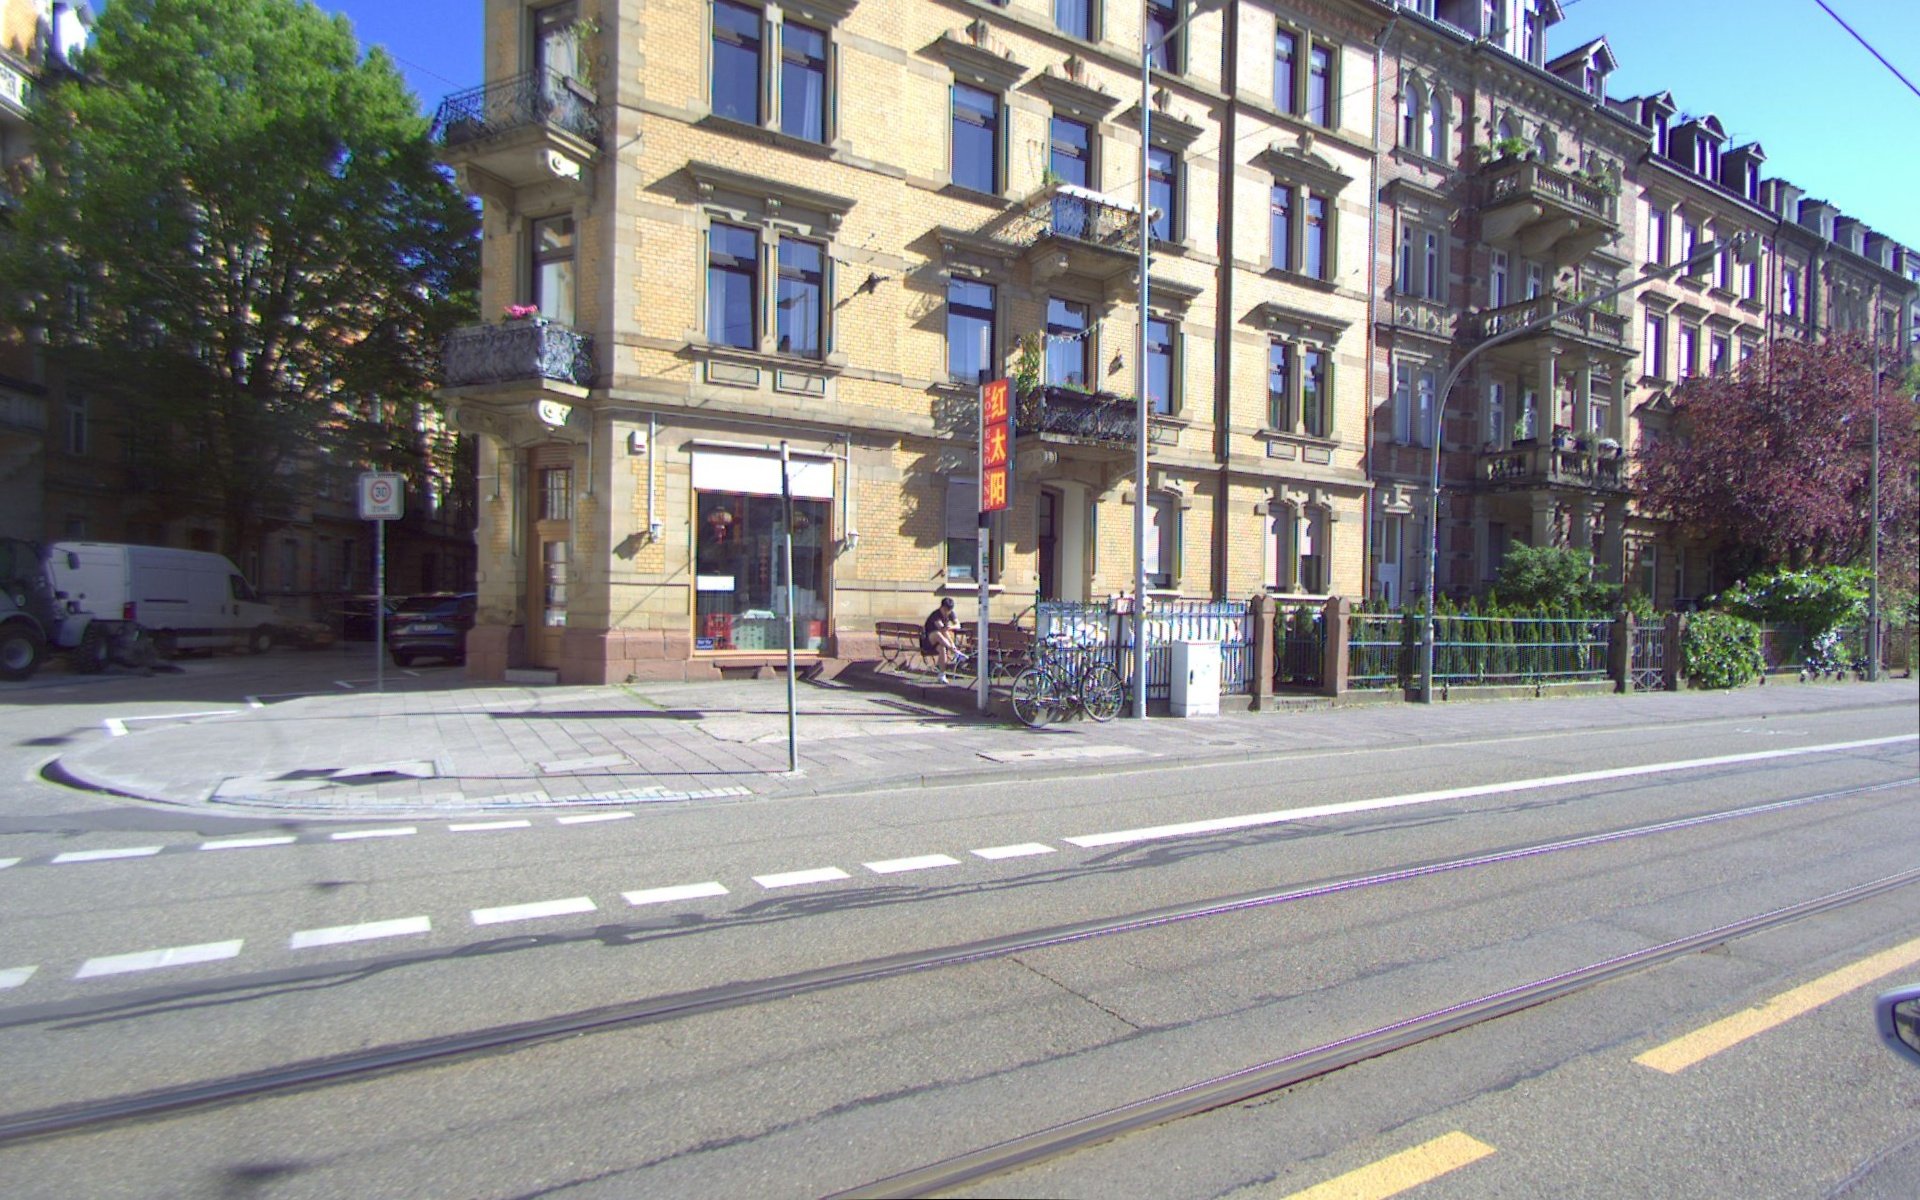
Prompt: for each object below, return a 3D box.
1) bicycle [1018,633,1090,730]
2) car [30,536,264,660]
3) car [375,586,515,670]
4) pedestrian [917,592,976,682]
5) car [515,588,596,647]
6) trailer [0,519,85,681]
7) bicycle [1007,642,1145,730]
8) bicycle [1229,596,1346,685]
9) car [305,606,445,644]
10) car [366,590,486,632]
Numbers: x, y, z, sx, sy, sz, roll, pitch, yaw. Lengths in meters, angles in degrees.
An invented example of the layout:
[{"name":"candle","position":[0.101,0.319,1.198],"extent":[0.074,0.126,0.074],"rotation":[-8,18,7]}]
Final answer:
[{"name":"bicycle","position":[1.176,0.997,12.495],"extent":[0.799,1.141,0.369],"rotation":[1,2,-31]},{"name":"car","position":[-19.103,-0.082,23.938],"extent":[1.962,2.536,4.632],"rotation":[4,1,-5]},{"name":"car","position":[-12.113,0.589,23.893],"extent":[1.805,1.773,3.585],"rotation":[-2,2,-7]},{"name":"pedestrian","position":[-0.218,0.576,15.859],"extent":[0.570,1.370,0.897],"rotation":[1,-2,-28]},{"name":"car","position":[-12.561,0.560,31.393],"extent":[1.570,1.750,3.532],"rotation":[0,-2,-9]},{"name":"trailer","position":[-17.163,-0.017,17.240],"extent":[1.794,2.730,2.926],"rotation":[2,-2,-7]},{"name":"bicycle","position":[1.463,1.040,12.436],"extent":[1.848,1.014,0.333],"rotation":[1,1,-31]},{"name":"bicycle","position":[5.377,0.636,16.573],"extent":[0.609,1.338,1.748],"rotation":[1,2,-39]},{"name":"car","position":[-20.498,0.887,35.372],"extent":[3.934,1.228,1.577],"rotation":[2,-2,-16]},{"name":"car","position":[-21.257,0.465,40.148],"extent":[3.934,1.515,1.577],"rotation":[2,-2,-16]}]
